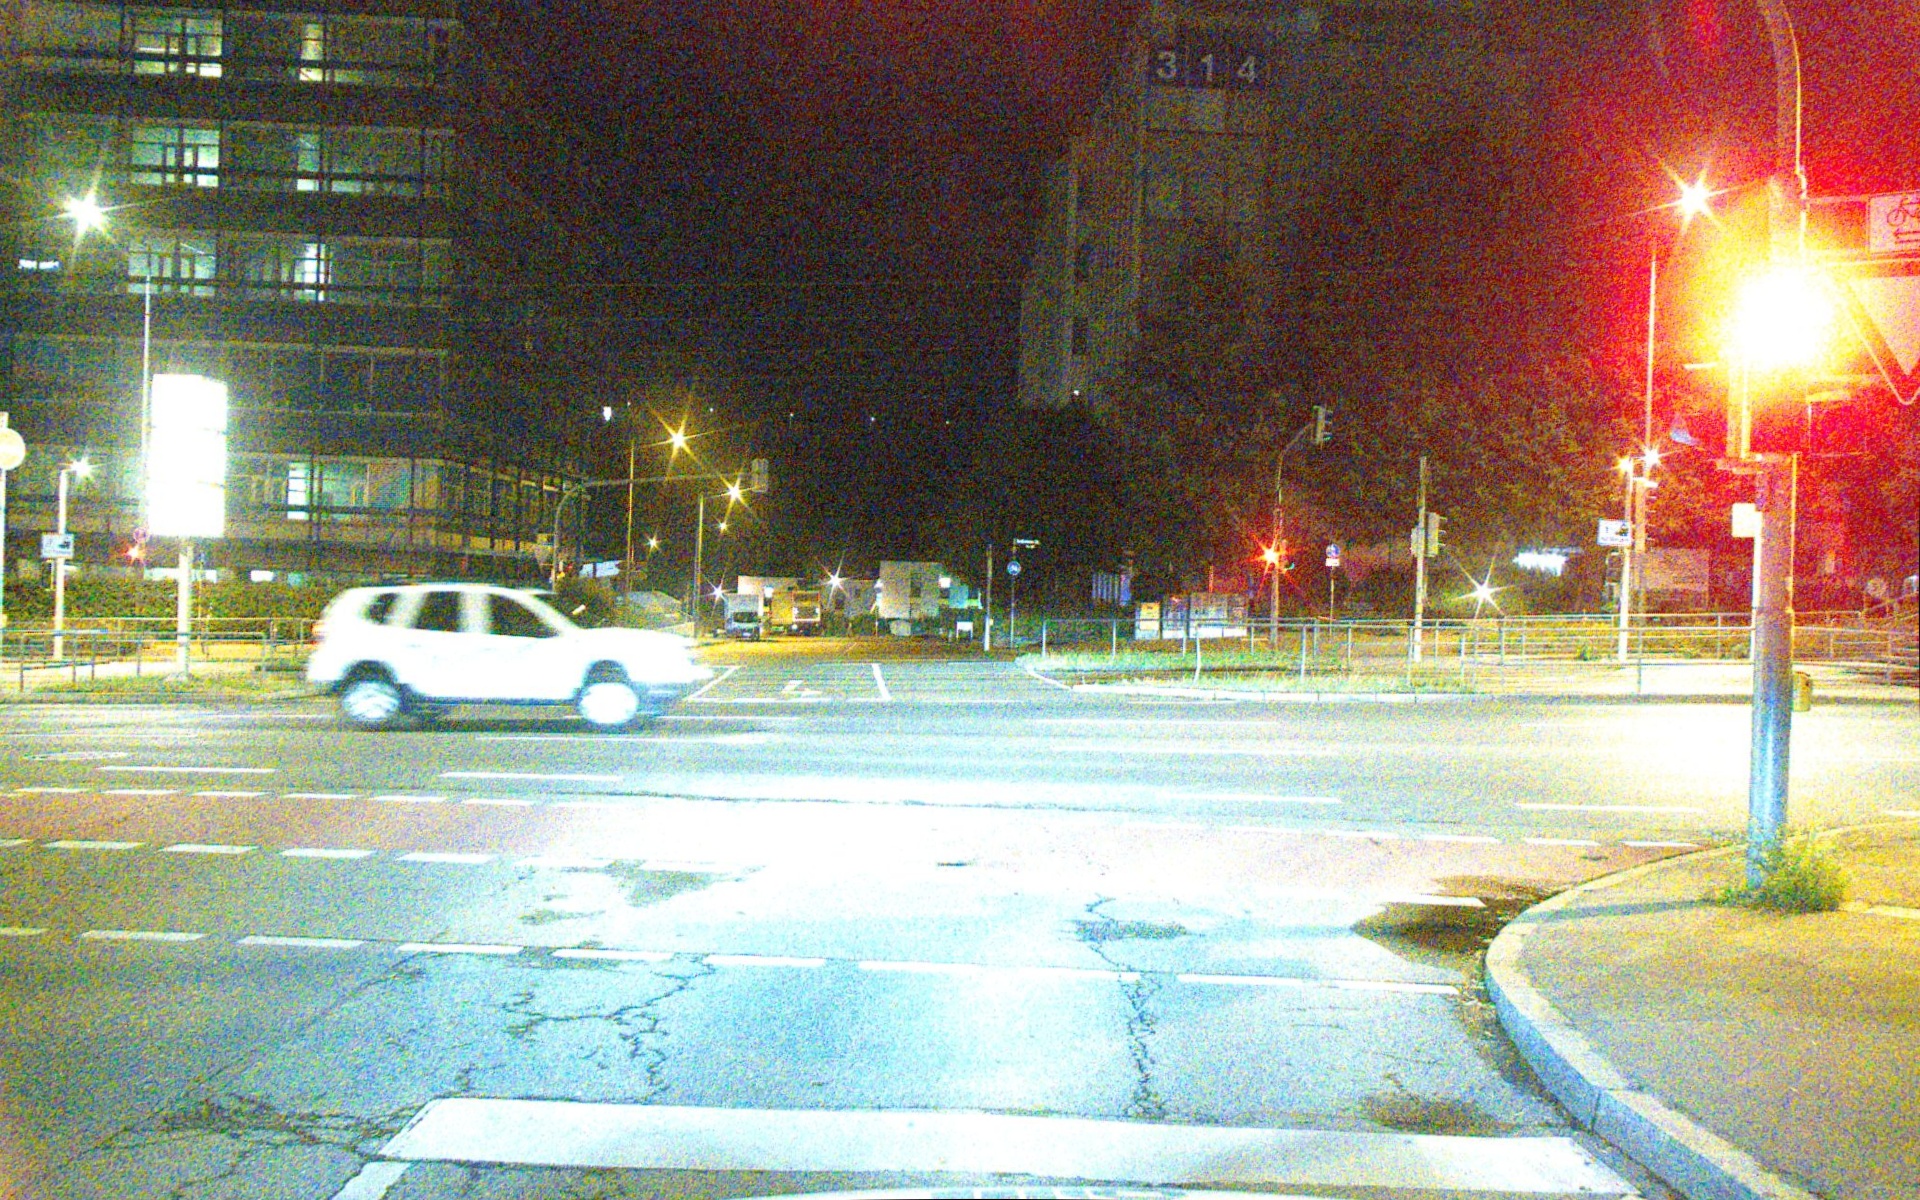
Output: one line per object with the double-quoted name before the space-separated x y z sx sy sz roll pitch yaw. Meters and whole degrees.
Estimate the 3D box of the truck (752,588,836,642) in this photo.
"truck" -15.299 1.295 150.971 4.751 4.627 12.593 1 0 -19

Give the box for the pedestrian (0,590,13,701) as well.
"pedestrian" -14.698 0.671 24.668 0.656 1.663 0.862 1 -1 -5

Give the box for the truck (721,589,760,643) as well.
"truck" -15.787 1.129 118.838 2.535 3.772 5.724 1 0 -9

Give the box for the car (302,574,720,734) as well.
"car" -4.997 0.568 18.807 4.193 1.712 1.876 0 1 2
